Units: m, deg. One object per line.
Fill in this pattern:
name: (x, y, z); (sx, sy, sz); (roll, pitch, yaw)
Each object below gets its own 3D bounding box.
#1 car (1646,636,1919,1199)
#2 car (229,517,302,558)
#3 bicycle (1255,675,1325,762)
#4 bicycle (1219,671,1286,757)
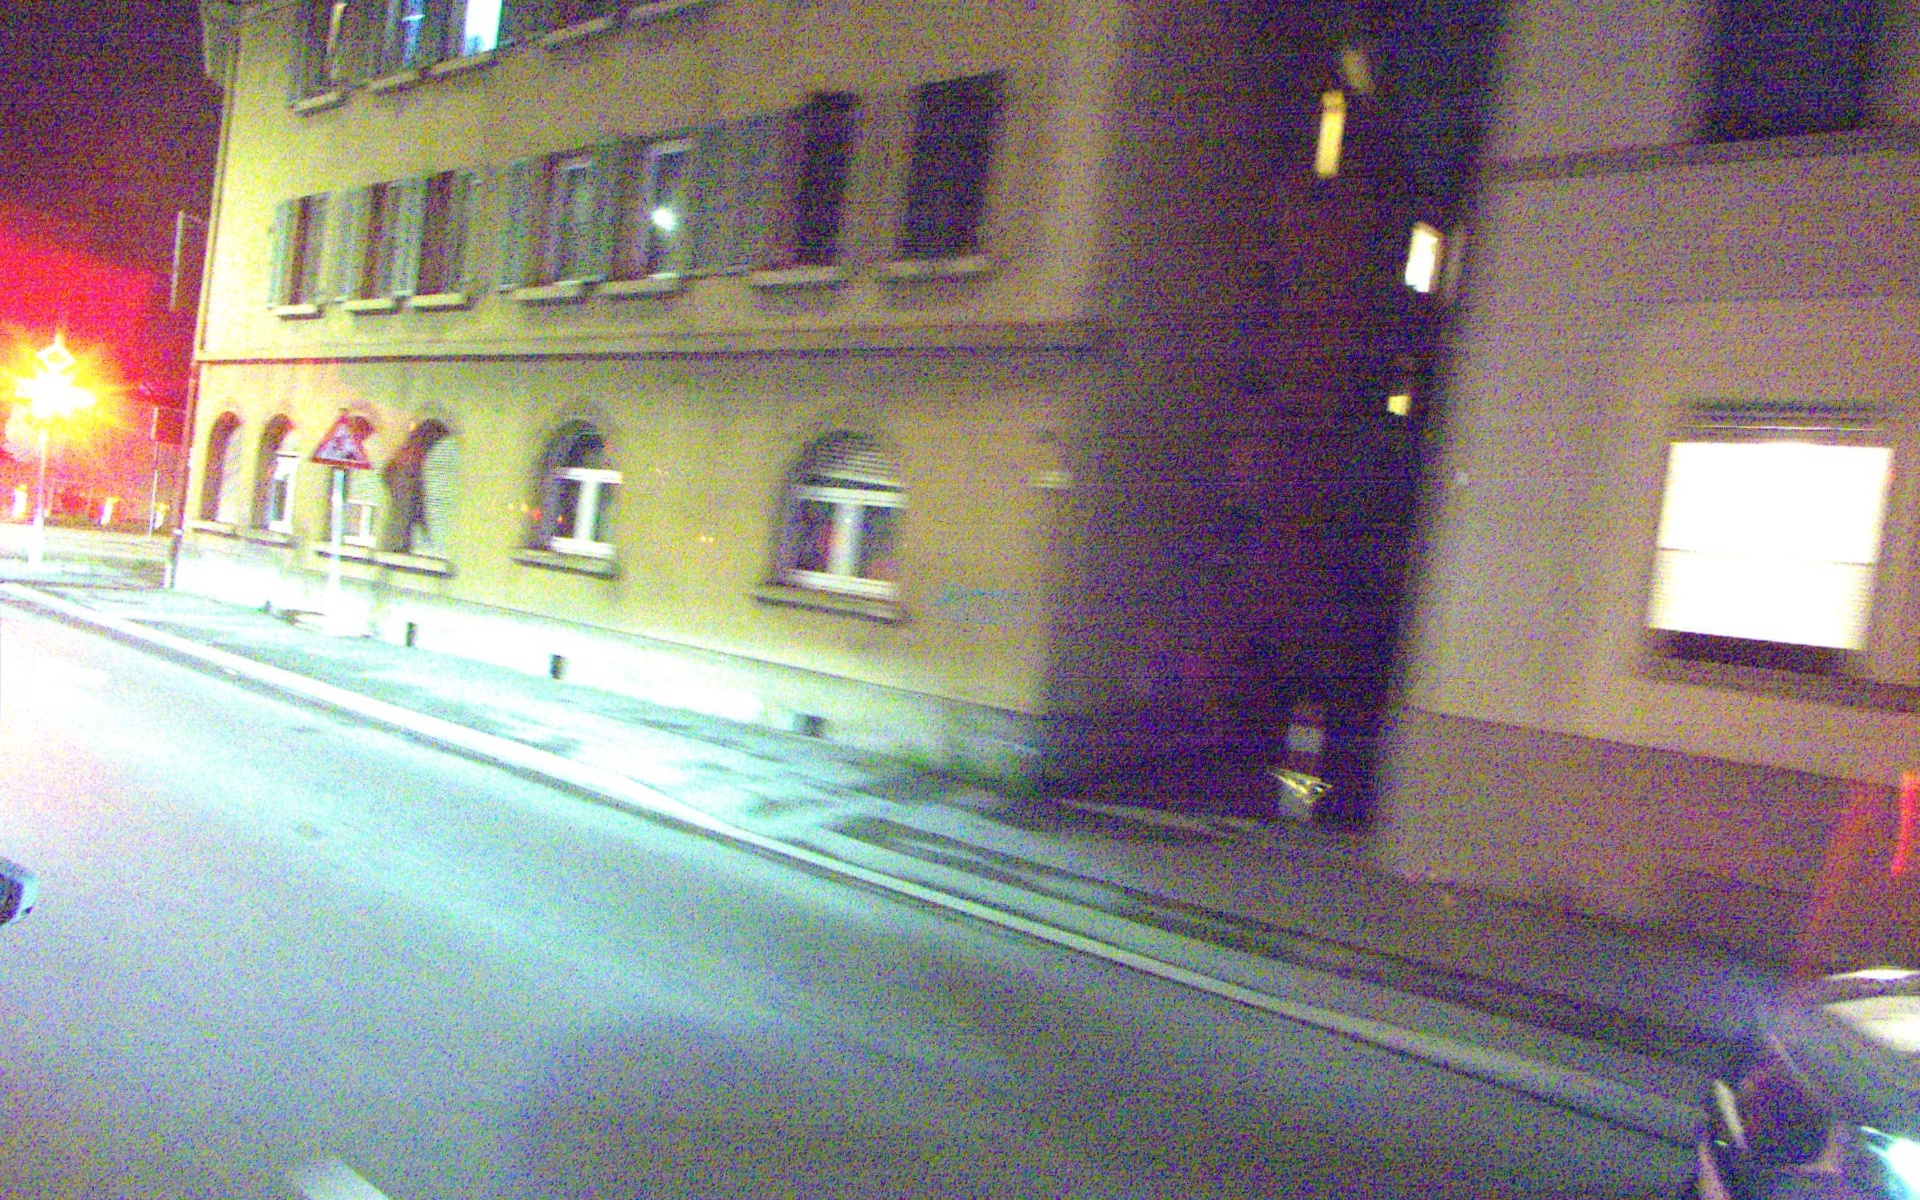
car: (3.427, 1.117, 1.116); (4.158, 1.629, 1.673); (6, -1, 30)
car: (-34.087, -3.039, 49.452); (1.706, 1.631, 3.613); (7, -1, -15)
bicycle: (4.497, 1.592, 13.653); (0.380, 1.074, 1.586); (6, -1, 34)
bicycle: (3.967, 1.527, 13.576); (0.350, 1.074, 1.418); (6, -1, 34)
